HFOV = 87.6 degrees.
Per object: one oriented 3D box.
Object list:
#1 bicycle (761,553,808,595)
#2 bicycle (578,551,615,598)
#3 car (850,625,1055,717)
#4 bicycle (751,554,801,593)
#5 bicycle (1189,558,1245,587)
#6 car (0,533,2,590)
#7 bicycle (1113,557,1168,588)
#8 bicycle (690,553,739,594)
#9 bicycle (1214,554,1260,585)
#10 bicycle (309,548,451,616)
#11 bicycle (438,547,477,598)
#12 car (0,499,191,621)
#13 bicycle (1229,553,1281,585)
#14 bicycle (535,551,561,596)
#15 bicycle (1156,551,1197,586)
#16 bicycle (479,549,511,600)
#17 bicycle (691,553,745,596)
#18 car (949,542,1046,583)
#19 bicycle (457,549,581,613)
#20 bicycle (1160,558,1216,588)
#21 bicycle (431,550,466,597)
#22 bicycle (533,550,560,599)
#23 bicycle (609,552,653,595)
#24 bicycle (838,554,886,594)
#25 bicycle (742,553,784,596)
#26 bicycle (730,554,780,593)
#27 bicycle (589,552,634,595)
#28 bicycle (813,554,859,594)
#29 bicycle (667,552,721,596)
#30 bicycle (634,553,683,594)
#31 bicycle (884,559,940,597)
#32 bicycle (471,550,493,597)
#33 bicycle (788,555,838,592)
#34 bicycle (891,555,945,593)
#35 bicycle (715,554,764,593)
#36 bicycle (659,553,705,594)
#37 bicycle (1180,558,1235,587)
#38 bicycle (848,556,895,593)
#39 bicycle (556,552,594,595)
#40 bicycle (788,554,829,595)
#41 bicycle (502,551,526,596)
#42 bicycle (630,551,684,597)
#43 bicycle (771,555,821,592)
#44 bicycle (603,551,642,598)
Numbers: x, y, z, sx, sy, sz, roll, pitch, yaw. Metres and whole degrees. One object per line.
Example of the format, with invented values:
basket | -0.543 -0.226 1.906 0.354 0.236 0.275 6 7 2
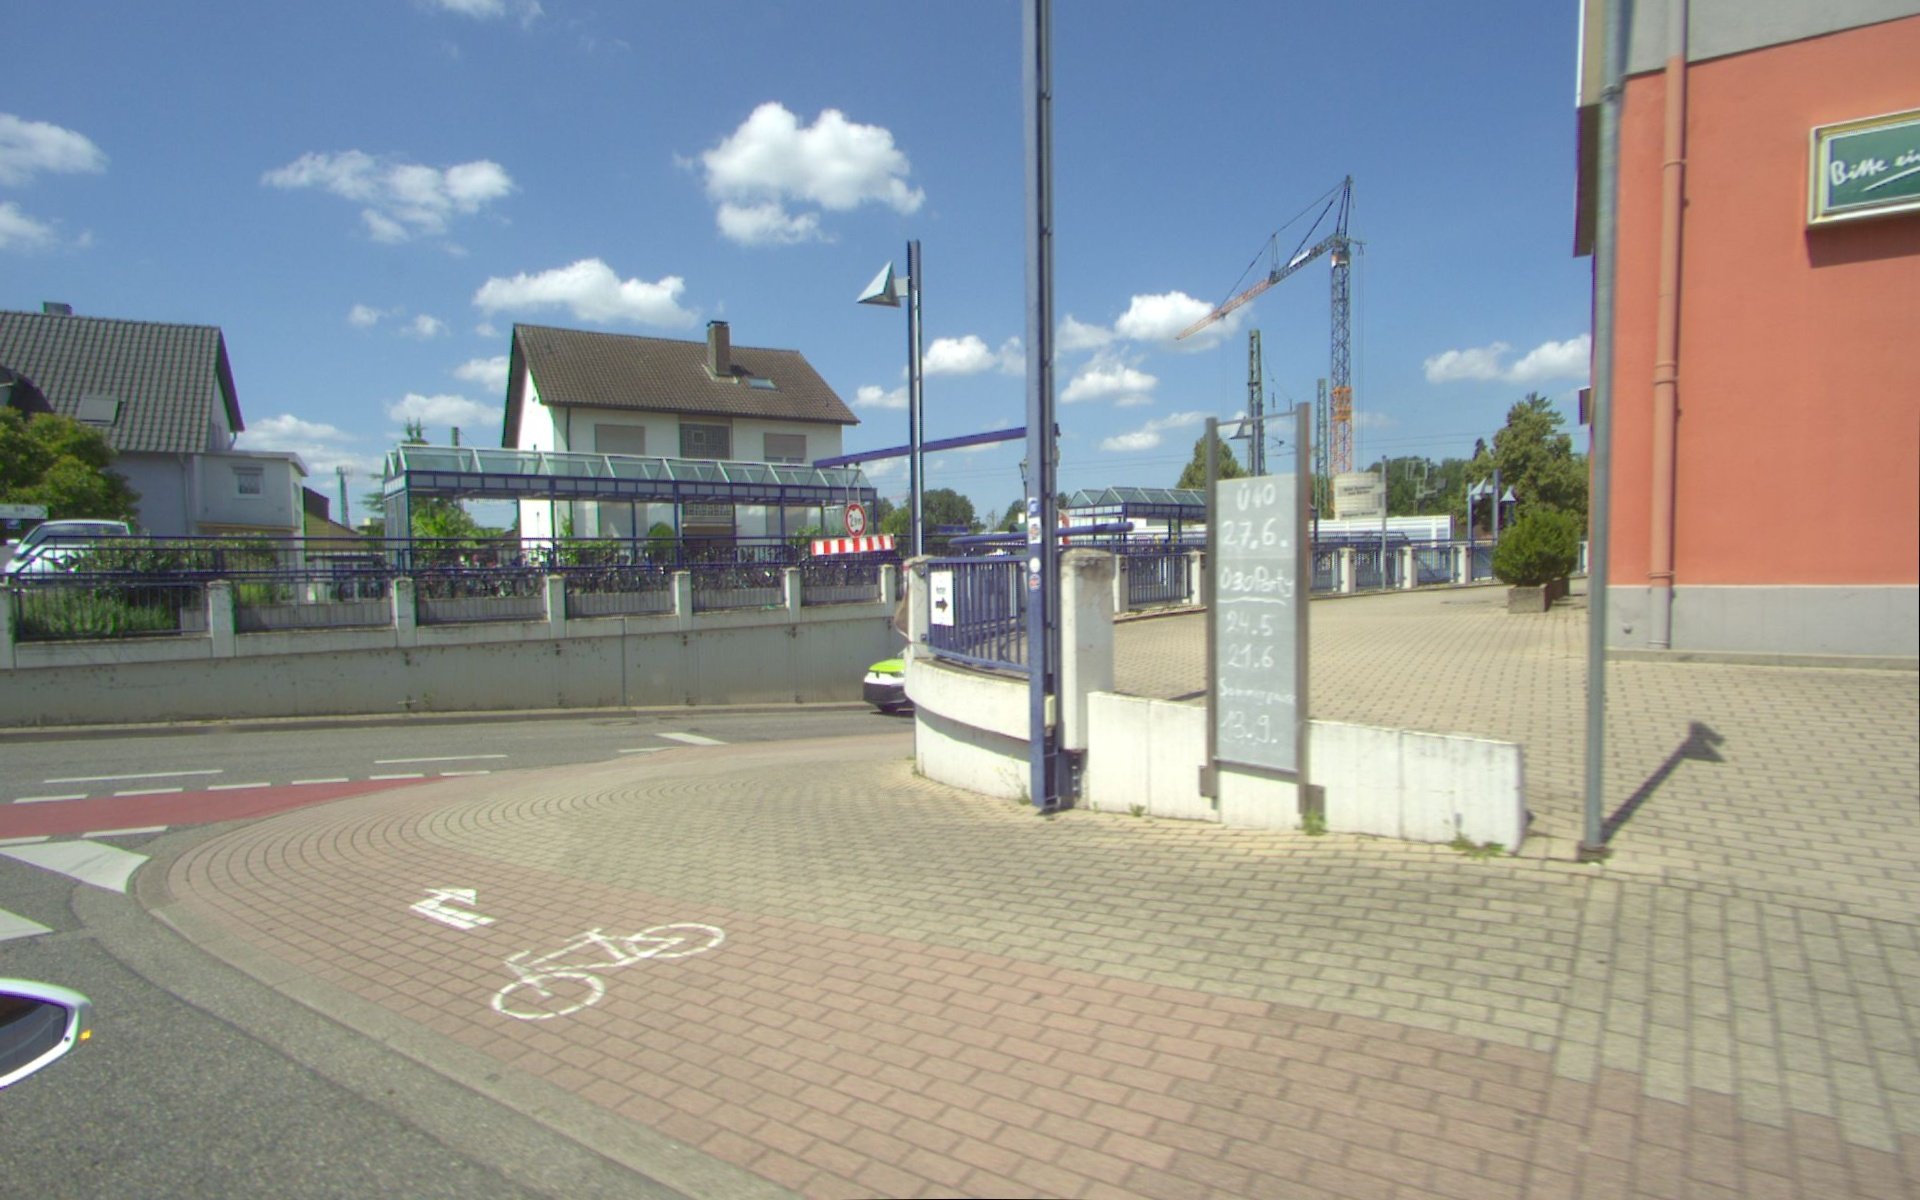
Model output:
bicycle | -4.444 -0.644 25.266 0.510 1.008 2.028 -1 2 -29
bicycle | -8.134 -0.564 22.333 0.430 1.008 2.269 -1 2 -28
car | -0.094 1.587 22.724 4.510 1.878 1.803 3 -2 -40
bicycle | -5.034 -0.716 27.324 0.514 1.008 1.950 -2 2 -37
bicycle | 9.204 -0.971 35.915 0.506 1.008 2.008 -2 2 -40
car | -17.480 -0.769 16.439 1.806 1.032 3.440 2 -2 -31
bicycle | 6.044 -0.907 33.651 0.433 1.008 2.008 -2 2 -40
bicycle | -6.371 -0.681 25.945 0.514 1.008 1.950 -2 2 -37
bicycle | 10.915 -1.191 39.498 0.506 1.174 1.807 -2 2 -39
bicycle | -10.090 -0.321 17.485 2.096 1.141 0.330 -1 2 -38
bicycle | -10.398 -0.552 20.703 0.329 1.008 2.059 -2 2 -37
car | -15.273 -0.579 17.853 1.973 1.819 4.173 2 -2 -31
bicycle | 11.010 -1.149 37.441 0.506 1.174 1.906 -2 2 -39
bicycle | -9.730 -0.616 23.646 0.368 1.008 1.956 -1 2 -28
bicycle | 7.410 -1.065 34.286 0.423 1.174 1.593 -1 2 -29
bicycle | -9.607 -0.523 20.741 0.429 1.008 2.095 -1 1 -21
bicycle | -5.915 -0.617 24.366 0.527 1.008 2.172 -1 2 -34
car | 1.565 -1.566 42.924 1.978 1.700 3.964 -2 2 -41
bicycle | -8.299 -0.360 18.908 2.096 1.141 0.389 -1 2 -38
bicycle | 7.929 -0.944 34.965 0.506 1.008 2.008 -2 2 -40
bicycle | -11.276 -0.575 22.090 0.449 1.008 1.882 -1 1 -20
bicycle | -8.886 -0.542 21.482 0.430 1.008 2.093 -1 2 -25
bicycle | -8.172 -0.648 24.814 0.410 1.008 1.950 -2 2 -37
bicycle | -2.609 -0.680 26.548 0.537 1.008 2.029 -1 2 -27
bicycle | -4.852 -0.627 24.546 0.571 1.008 2.180 -1 1 -23
bicycle | -5.543 -0.707 26.991 0.514 1.008 1.950 -2 2 -37
bicycle | -8.557 -0.640 24.540 0.469 1.008 1.950 -2 2 -37
bicycle | -3.233 -0.666 26.027 0.509 1.008 2.029 -1 2 -27
bicycle | -6.330 -0.603 23.772 0.527 1.008 2.172 -1 2 -34
bicycle | -7.622 -0.660 25.266 0.514 1.008 1.950 -2 2 -37
bicycle | -1.361 -0.614 27.932 0.432 1.008 2.145 -2 2 -38
bicycle | -10.803 -0.589 22.610 0.368 1.008 1.956 -1 2 -28
bicycle | -4.117 -0.735 27.984 0.514 1.008 1.950 -2 2 -37
bicycle | -1.183 -0.714 27.841 0.538 1.008 2.025 -1 2 -33
bicycle | -5.835 -0.694 26.446 0.514 1.008 1.950 -2 2 -37
bicycle | -7.163 -0.673 25.769 0.514 1.008 1.787 -2 2 -37
bicycle | 8.803 -0.964 35.671 0.506 1.008 2.008 -2 2 -40
bicycle | -2.574 -0.730 28.981 0.538 1.008 2.027 -1 2 -31
bicycle | -9.307 -0.628 24.146 0.422 1.008 1.952 -1 2 -34
bicycle | -3.911 -0.656 25.715 0.509 1.008 2.031 -1 2 -24
bicycle | -10.426 -0.606 23.377 0.368 1.008 1.956 -1 2 -28
bicycle | -6.991 -0.584 23.034 0.527 1.008 2.265 -1 2 -34
bicycle | -4.552 -0.726 27.653 0.514 1.008 1.950 -2 2 -37
bicycle | -7.655 -0.573 22.656 0.430 1.008 2.269 -1 2 -28
